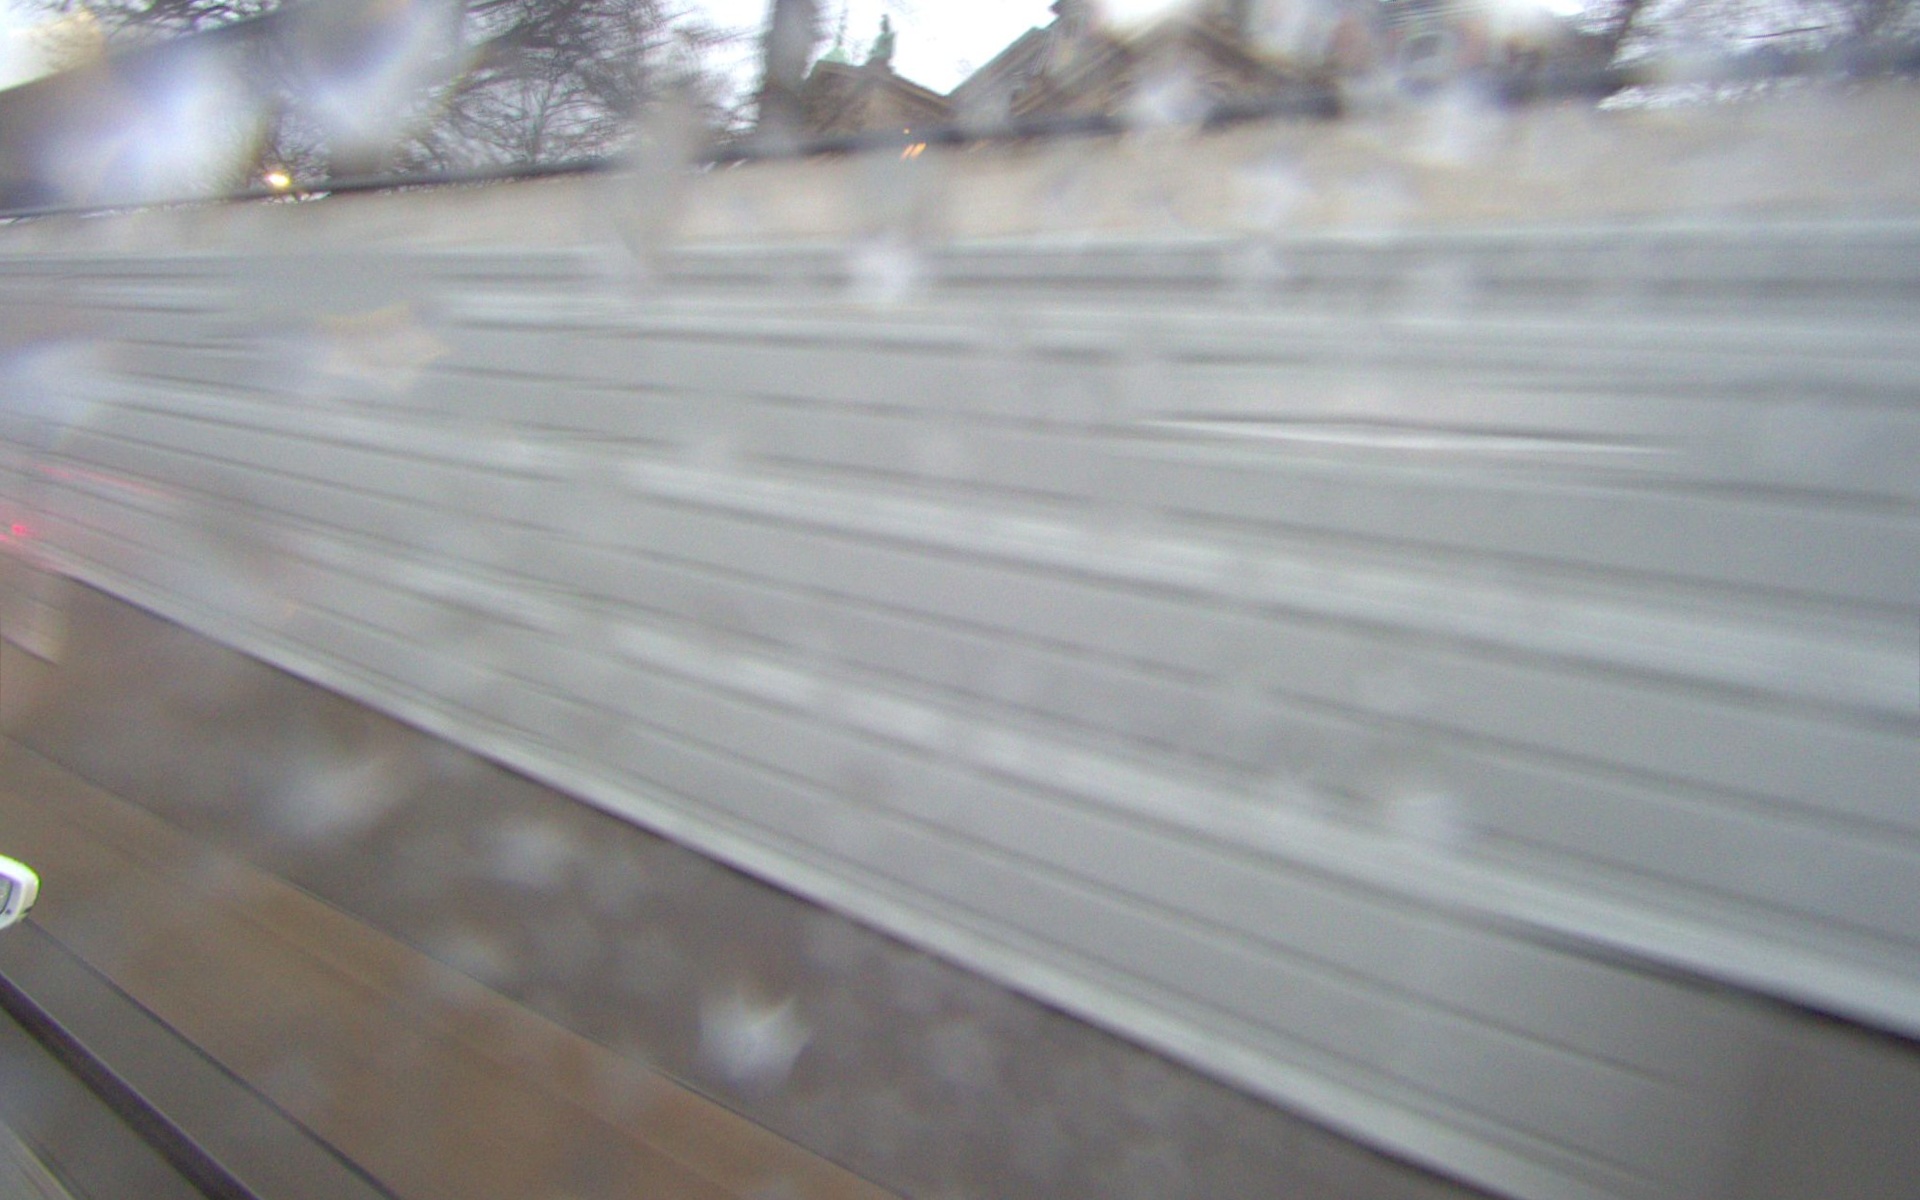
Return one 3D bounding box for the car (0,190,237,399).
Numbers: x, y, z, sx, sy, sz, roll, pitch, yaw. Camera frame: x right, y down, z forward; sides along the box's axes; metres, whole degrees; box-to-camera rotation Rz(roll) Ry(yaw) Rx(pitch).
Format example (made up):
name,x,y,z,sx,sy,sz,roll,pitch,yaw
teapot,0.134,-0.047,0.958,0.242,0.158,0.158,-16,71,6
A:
name,x,y,z,sx,sy,sz,roll,pitch,yaw
car,-10.010,-3.322,11.251,3.935,1.496,1.725,11,0,34
